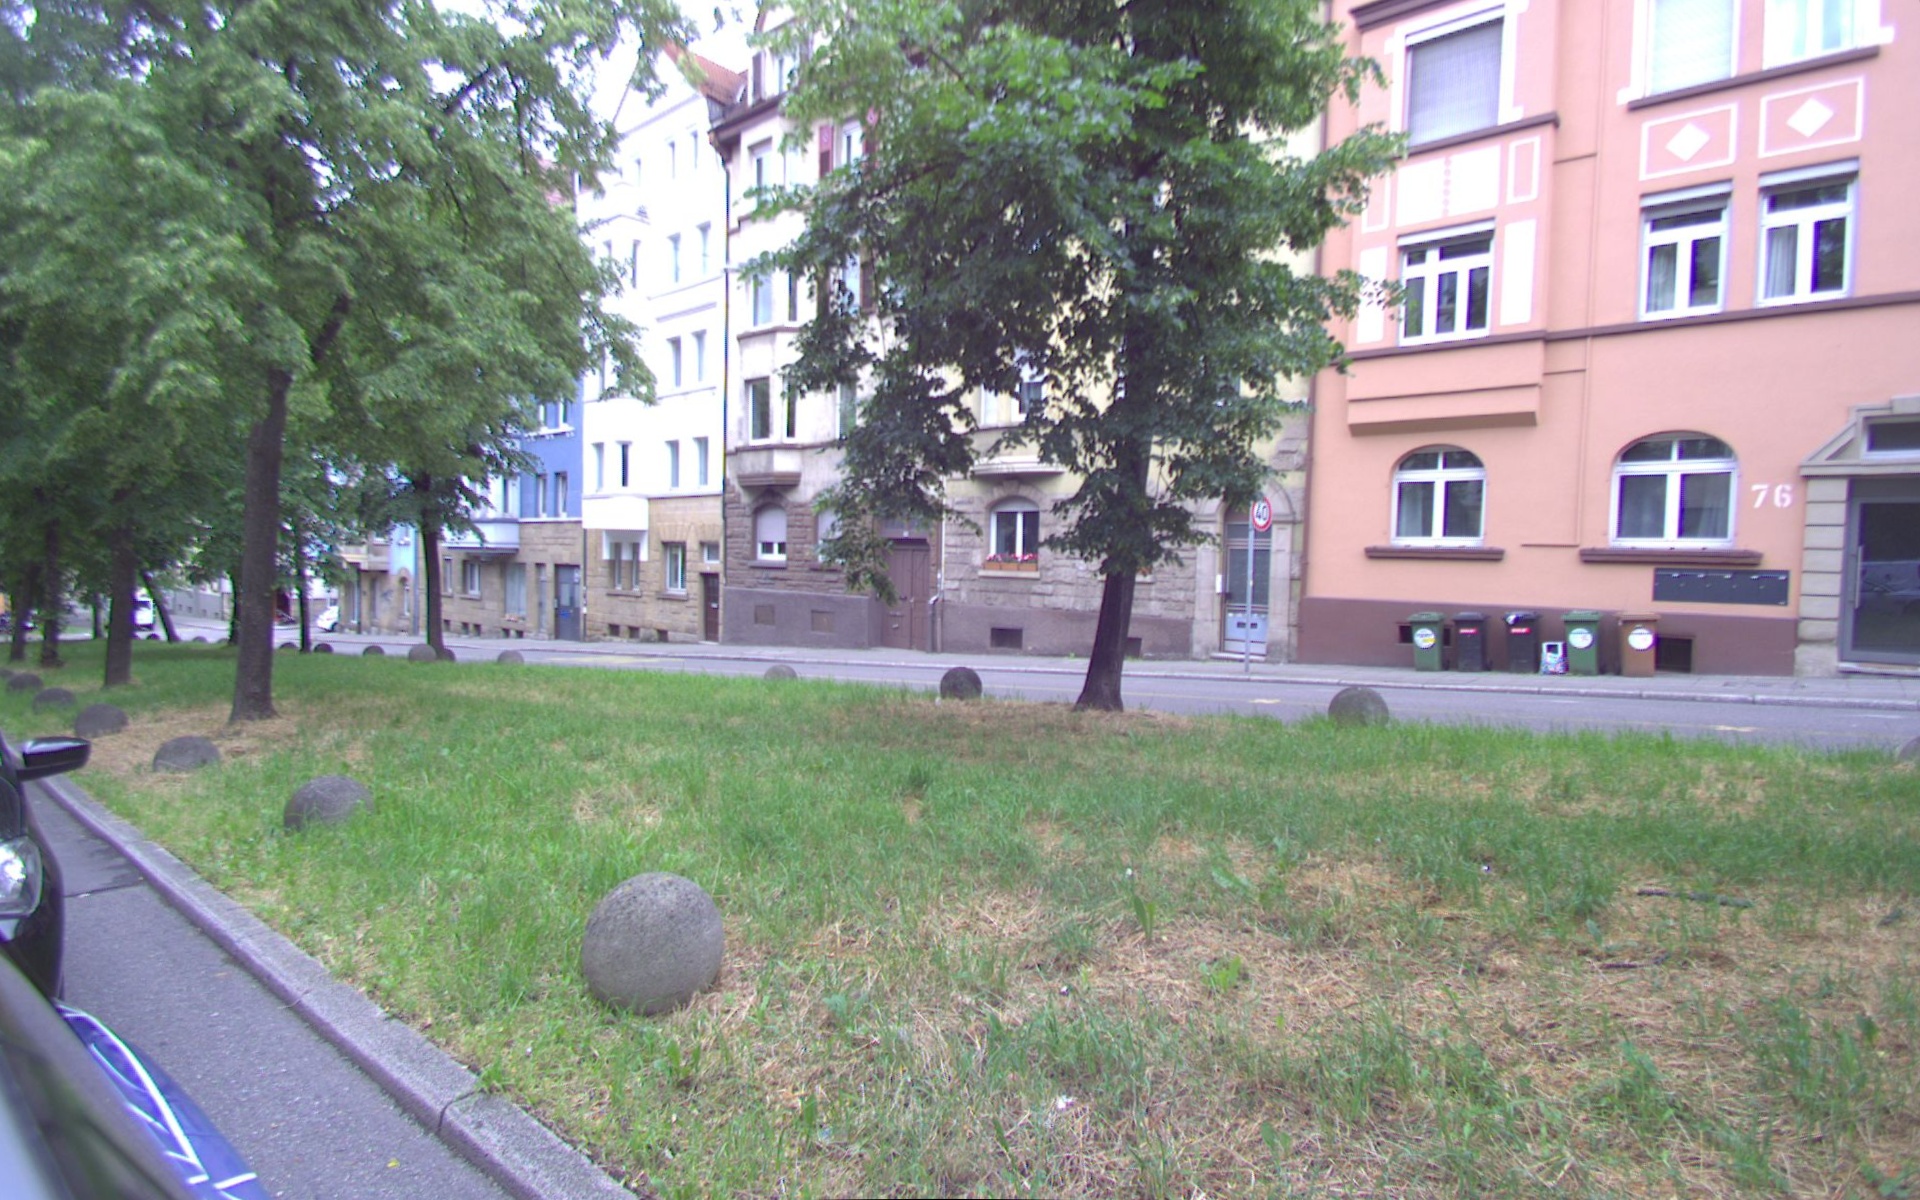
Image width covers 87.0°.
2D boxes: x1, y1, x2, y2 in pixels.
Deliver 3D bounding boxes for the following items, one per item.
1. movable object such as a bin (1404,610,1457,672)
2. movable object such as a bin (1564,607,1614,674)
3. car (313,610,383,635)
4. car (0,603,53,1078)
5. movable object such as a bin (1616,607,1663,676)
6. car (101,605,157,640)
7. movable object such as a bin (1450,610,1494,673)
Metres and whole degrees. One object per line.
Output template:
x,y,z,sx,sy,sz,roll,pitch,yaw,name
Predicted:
7.525,0.646,16.185,0.617,0.955,0.610,-1,0,40,movable object such as a bin
9.170,0.579,14.745,0.558,0.928,0.648,-1,0,36,movable object such as a bin
-35.356,1.285,58.497,3.244,1.341,1.674,-1,0,-40,car
-4.677,0.747,3.719,3.295,1.476,1.590,-1,-2,41,car
9.633,0.573,14.350,0.514,0.928,0.750,-1,0,36,movable object such as a bin
-49.880,1.340,60.722,5.308,1.959,1.971,-2,0,44,car
7.999,0.636,15.813,0.531,0.953,0.575,-1,0,35,movable object such as a bin
